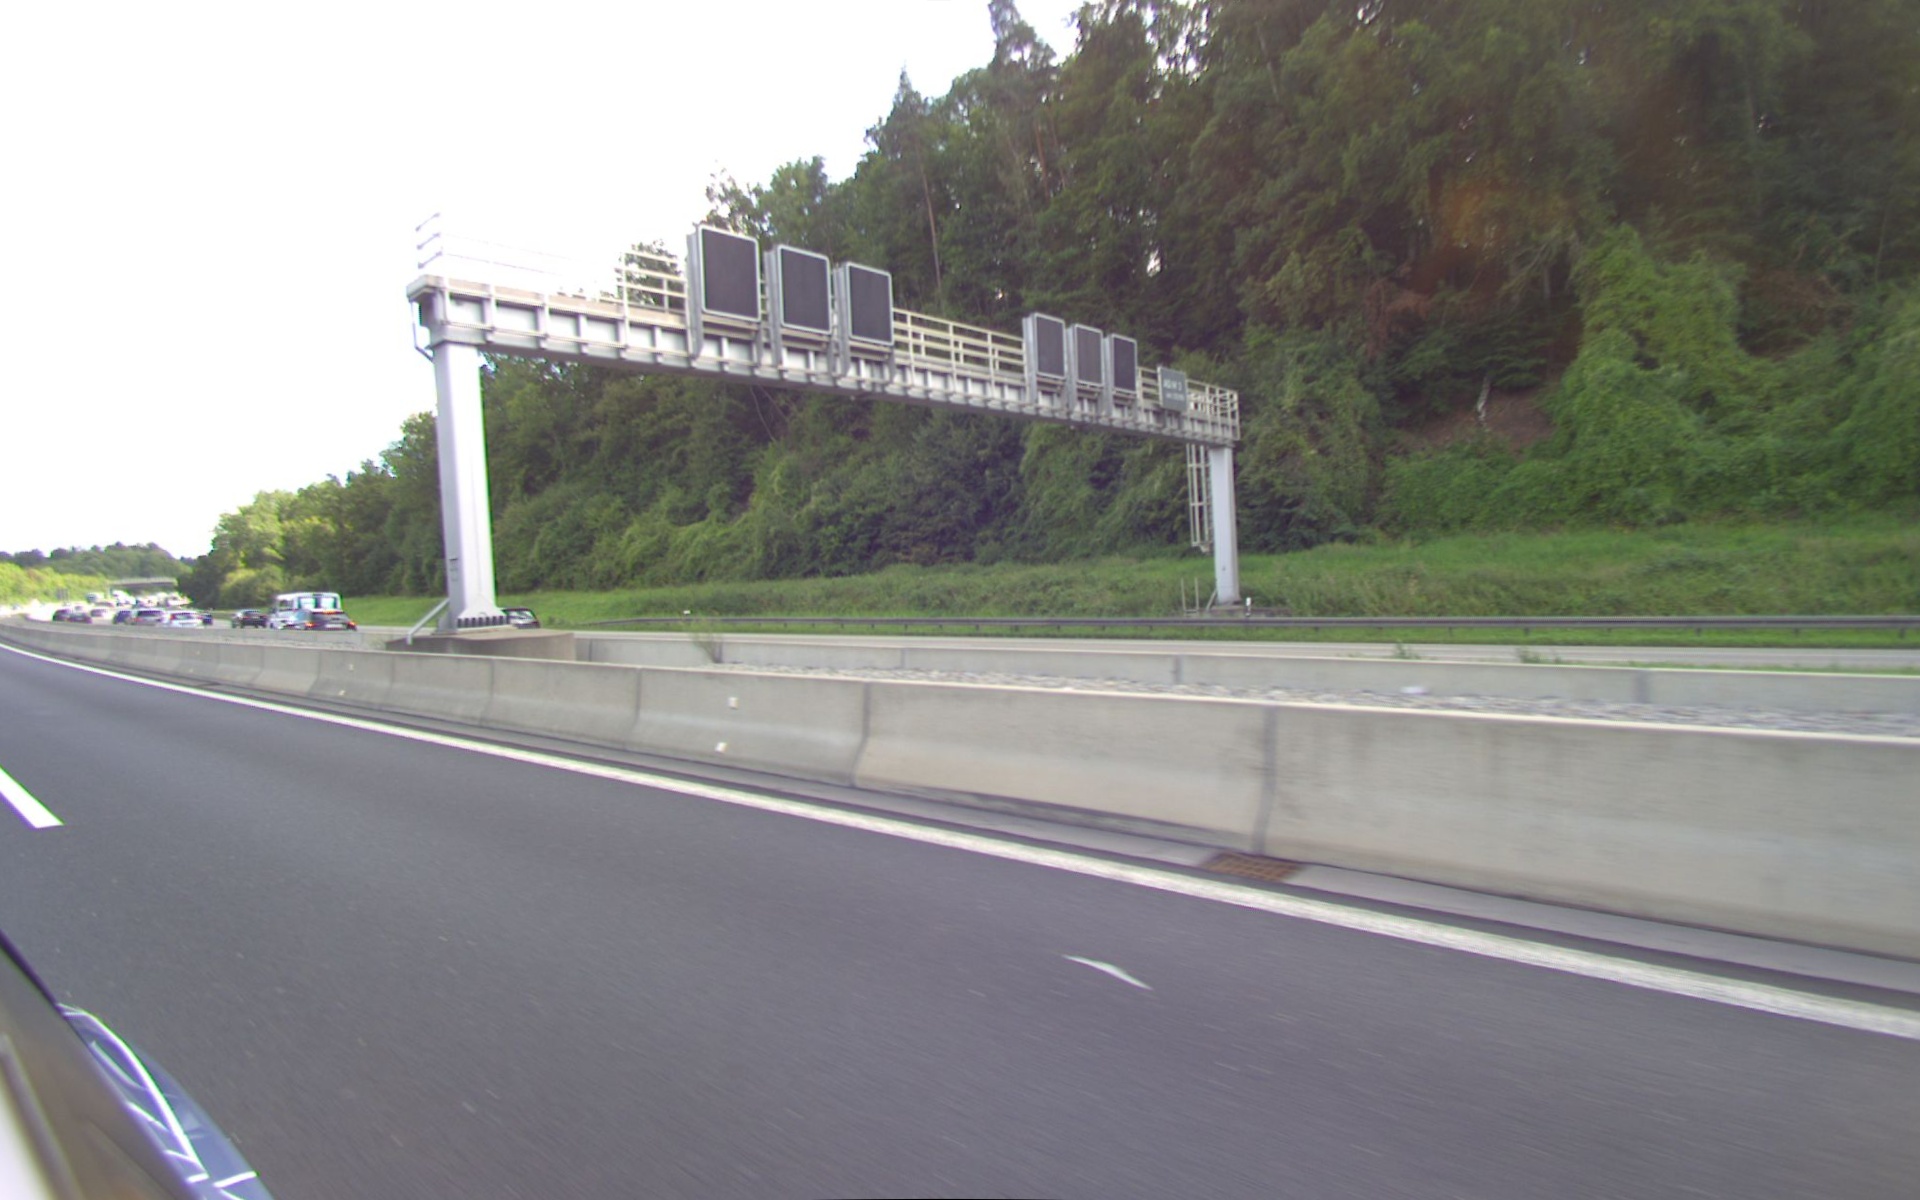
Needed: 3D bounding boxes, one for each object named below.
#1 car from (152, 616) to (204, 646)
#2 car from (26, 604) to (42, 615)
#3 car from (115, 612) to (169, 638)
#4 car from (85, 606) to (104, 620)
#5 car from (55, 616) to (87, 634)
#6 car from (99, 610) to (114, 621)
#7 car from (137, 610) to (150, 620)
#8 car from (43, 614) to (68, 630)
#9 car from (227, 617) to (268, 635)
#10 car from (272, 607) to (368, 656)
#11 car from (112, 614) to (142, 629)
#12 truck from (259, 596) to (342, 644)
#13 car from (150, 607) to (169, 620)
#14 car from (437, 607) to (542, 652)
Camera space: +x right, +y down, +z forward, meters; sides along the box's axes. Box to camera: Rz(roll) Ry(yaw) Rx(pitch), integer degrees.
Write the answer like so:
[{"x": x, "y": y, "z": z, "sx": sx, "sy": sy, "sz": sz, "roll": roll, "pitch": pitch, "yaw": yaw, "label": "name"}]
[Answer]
[{"x": -40.238, "y": 1.567, "z": 52.062, "sx": 3.889, "sy": 1.461, "sz": 1.548, "roll": -1, "pitch": 0, "yaw": 43, "label": "car"}, {"x": -165.632, "y": 1.722, "z": 181.125, "sx": 1.969, "sy": 2.050, "sz": 4.006, "roll": -1, "pitch": 0, "yaw": -41, "label": "car"}, {"x": -52.885, "y": 1.583, "z": 65.408, "sx": 5.285, "sy": 1.548, "sz": 1.972, "roll": -1, "pitch": 0, "yaw": 43, "label": "car"}, {"x": -133.877, "y": 2.021, "z": 156.516, "sx": 1.970, "sy": 2.029, "sz": 4.782, "roll": -1, "pitch": 0, "yaw": -43, "label": "car"}, {"x": -78.738, "y": 2.178, "z": 89.585, "sx": 4.501, "sy": 1.551, "sz": 1.680, "roll": -1, "pitch": 0, "yaw": 43, "label": "car"}, {"x": -173.228, "y": 3.159, "z": 205.309, "sx": 2.173, "sy": 2.146, "sz": 8.088, "roll": -1, "pitch": 0, "yaw": -41, "label": "car"}, {"x": -169.414, "y": 3.142, "z": 209.869, "sx": 1.969, "sy": 2.050, "sz": 4.006, "roll": -1, "pitch": 0, "yaw": -41, "label": "car"}, {"x": -99.788, "y": 2.423, "z": 111.643, "sx": 1.854, "sy": 1.710, "sz": 4.317, "roll": -1, "pitch": 0, "yaw": -45, "label": "car"}, {"x": -55.808, "y": 2.050, "z": 79.228, "sx": 4.187, "sy": 1.321, "sz": 1.803, "roll": -1, "pitch": 0, "yaw": 43, "label": "car"}, {"x": -23.244, "y": 1.115, "z": 36.716, "sx": 4.000, "sy": 1.653, "sz": 1.972, "roll": -1, "pitch": 0, "yaw": 43, "label": "car"}, {"x": -87.653, "y": 2.230, "z": 106.468, "sx": 1.971, "sy": 1.551, "sz": 4.742, "roll": -1, "pitch": 0, "yaw": -45, "label": "car"}, {"x": -32.761, "y": 0.959, "z": 50.222, "sx": 5.571, "sy": 2.242, "sz": 2.160, "roll": -1, "pitch": 0, "yaw": 43, "label": "truck"}, {"x": -126.638, "y": 2.103, "z": 160.091, "sx": 2.001, "sy": 2.050, "sz": 4.786, "roll": -1, "pitch": 0, "yaw": -43, "label": "car"}, {"x": -16.269, "y": 0.990, "z": 34.884, "sx": 4.600, "sy": 1.406, "sz": 1.648, "roll": -1, "pitch": 0, "yaw": 43, "label": "car"}]
